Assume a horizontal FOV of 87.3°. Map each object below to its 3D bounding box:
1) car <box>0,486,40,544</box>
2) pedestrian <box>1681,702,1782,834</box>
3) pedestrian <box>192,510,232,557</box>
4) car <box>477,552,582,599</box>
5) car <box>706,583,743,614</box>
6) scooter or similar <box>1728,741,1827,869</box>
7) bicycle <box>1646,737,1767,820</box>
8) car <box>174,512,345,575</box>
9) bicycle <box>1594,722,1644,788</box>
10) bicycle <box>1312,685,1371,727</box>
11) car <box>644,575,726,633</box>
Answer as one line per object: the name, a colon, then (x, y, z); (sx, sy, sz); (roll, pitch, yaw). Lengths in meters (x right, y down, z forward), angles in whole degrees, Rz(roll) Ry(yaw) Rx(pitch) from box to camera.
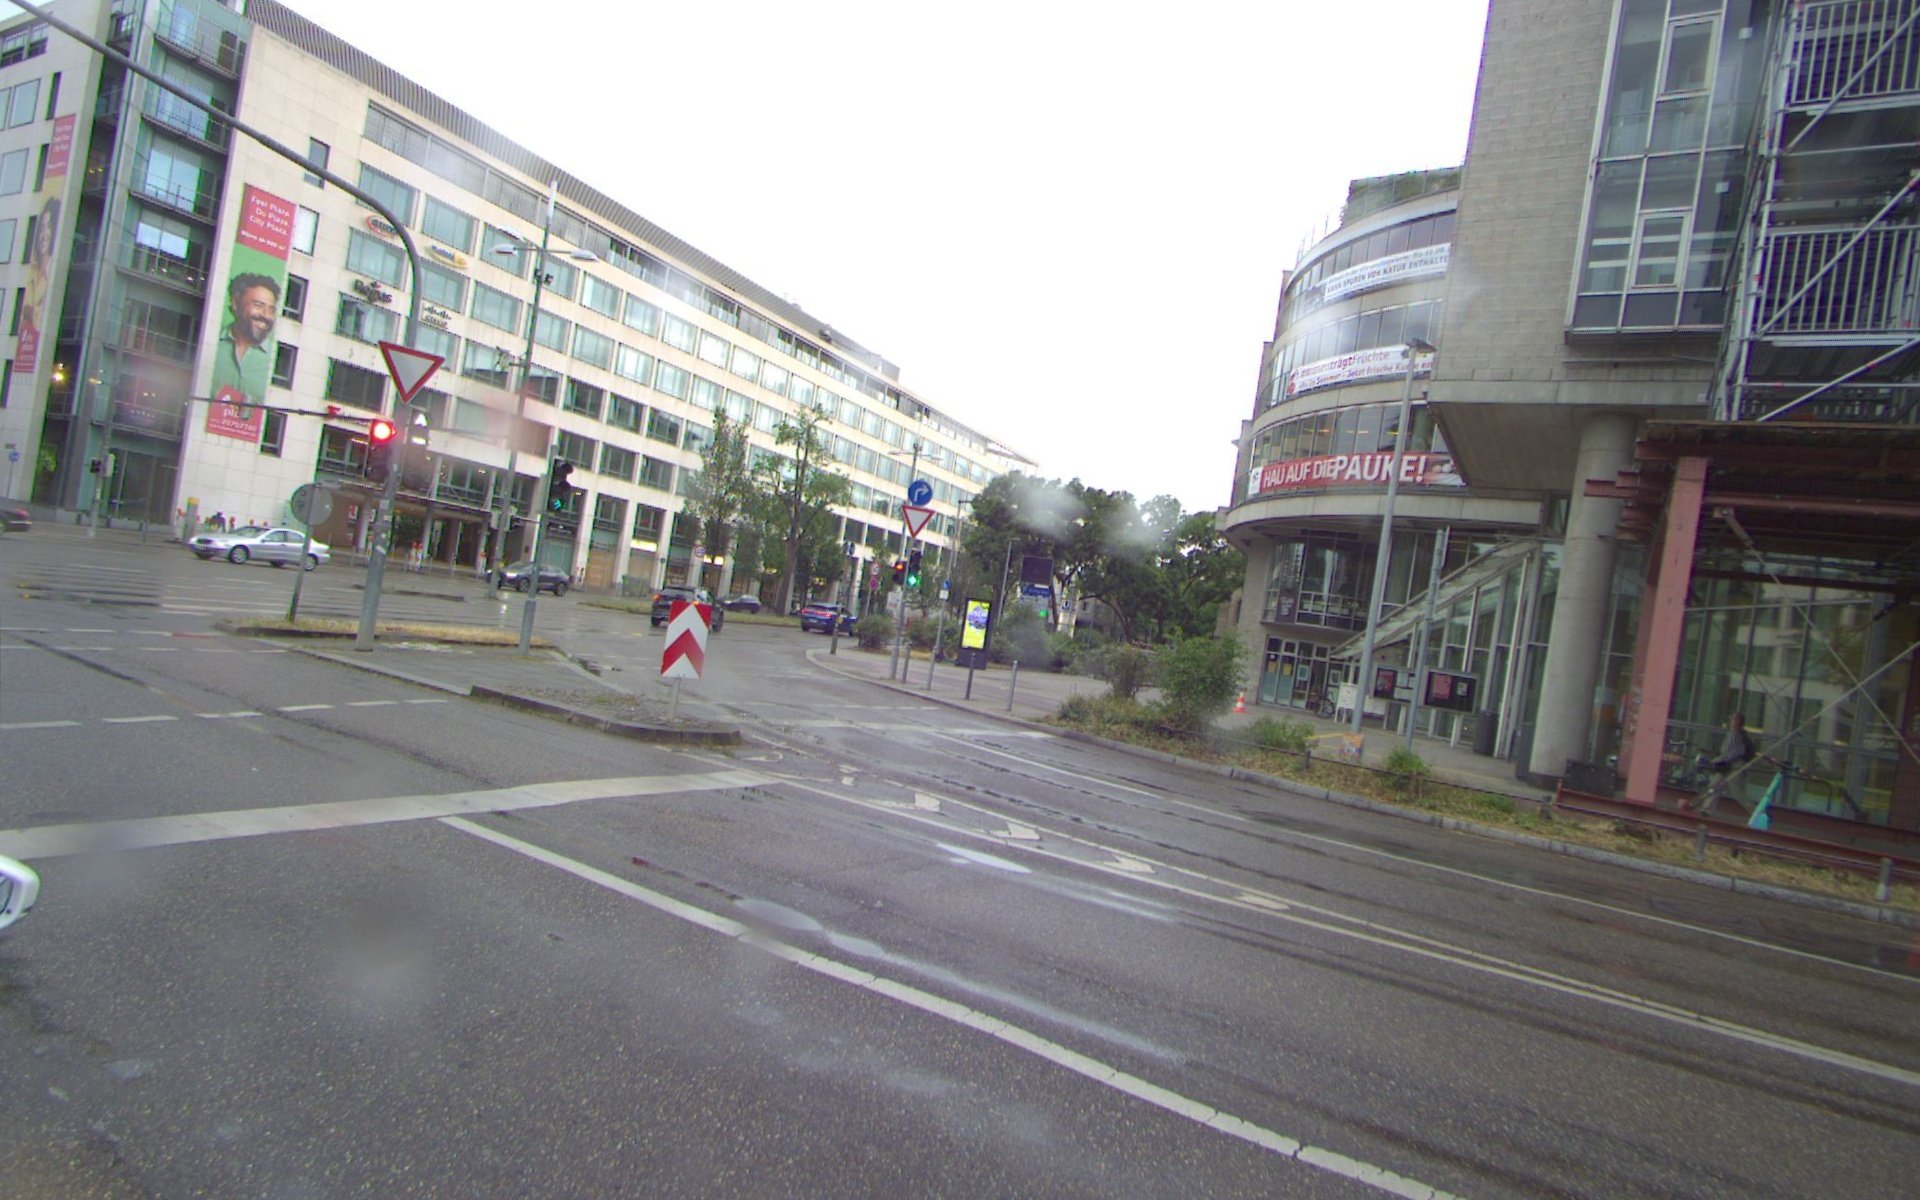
car: (-28.072, -2.627, 26.780); (1.962, 1.494, 4.868); (6, -3, 18)
pedestrian: (11.486, 2.475, 15.006); (0.776, 1.796, 0.781); (7, -1, 13)
pedestrian: (-32.134, -2.845, 43.200); (0.822, 1.838, 0.963); (6, -1, 31)
car: (-21.170, -1.169, 49.646); (1.800, 1.627, 4.486); (6, -2, 29)
car: (-18.123, -0.060, 77.593); (1.520, 2.036, 4.672); (7, -2, 1)
scooter or similar: (9.232, 2.270, 11.413); (0.577, 1.208, 1.780); (7, -1, 34)
bicycle: (13.496, 3.225, 18.225); (1.584, 1.208, 0.587); (7, -1, 6)
car: (-25.052, -1.987, 36.219); (1.962, 1.493, 4.741); (4, -4, 17)
bicycle: (13.644, 3.184, 20.870); (0.576, 1.208, 1.614); (7, -2, 27)
bicycle: (13.465, 3.746, 35.526); (1.753, 1.208, 0.586); (6, -1, 29)
car: (-9.733, 0.168, 35.877); (1.901, 1.715, 3.999); (8, -1, -4)
